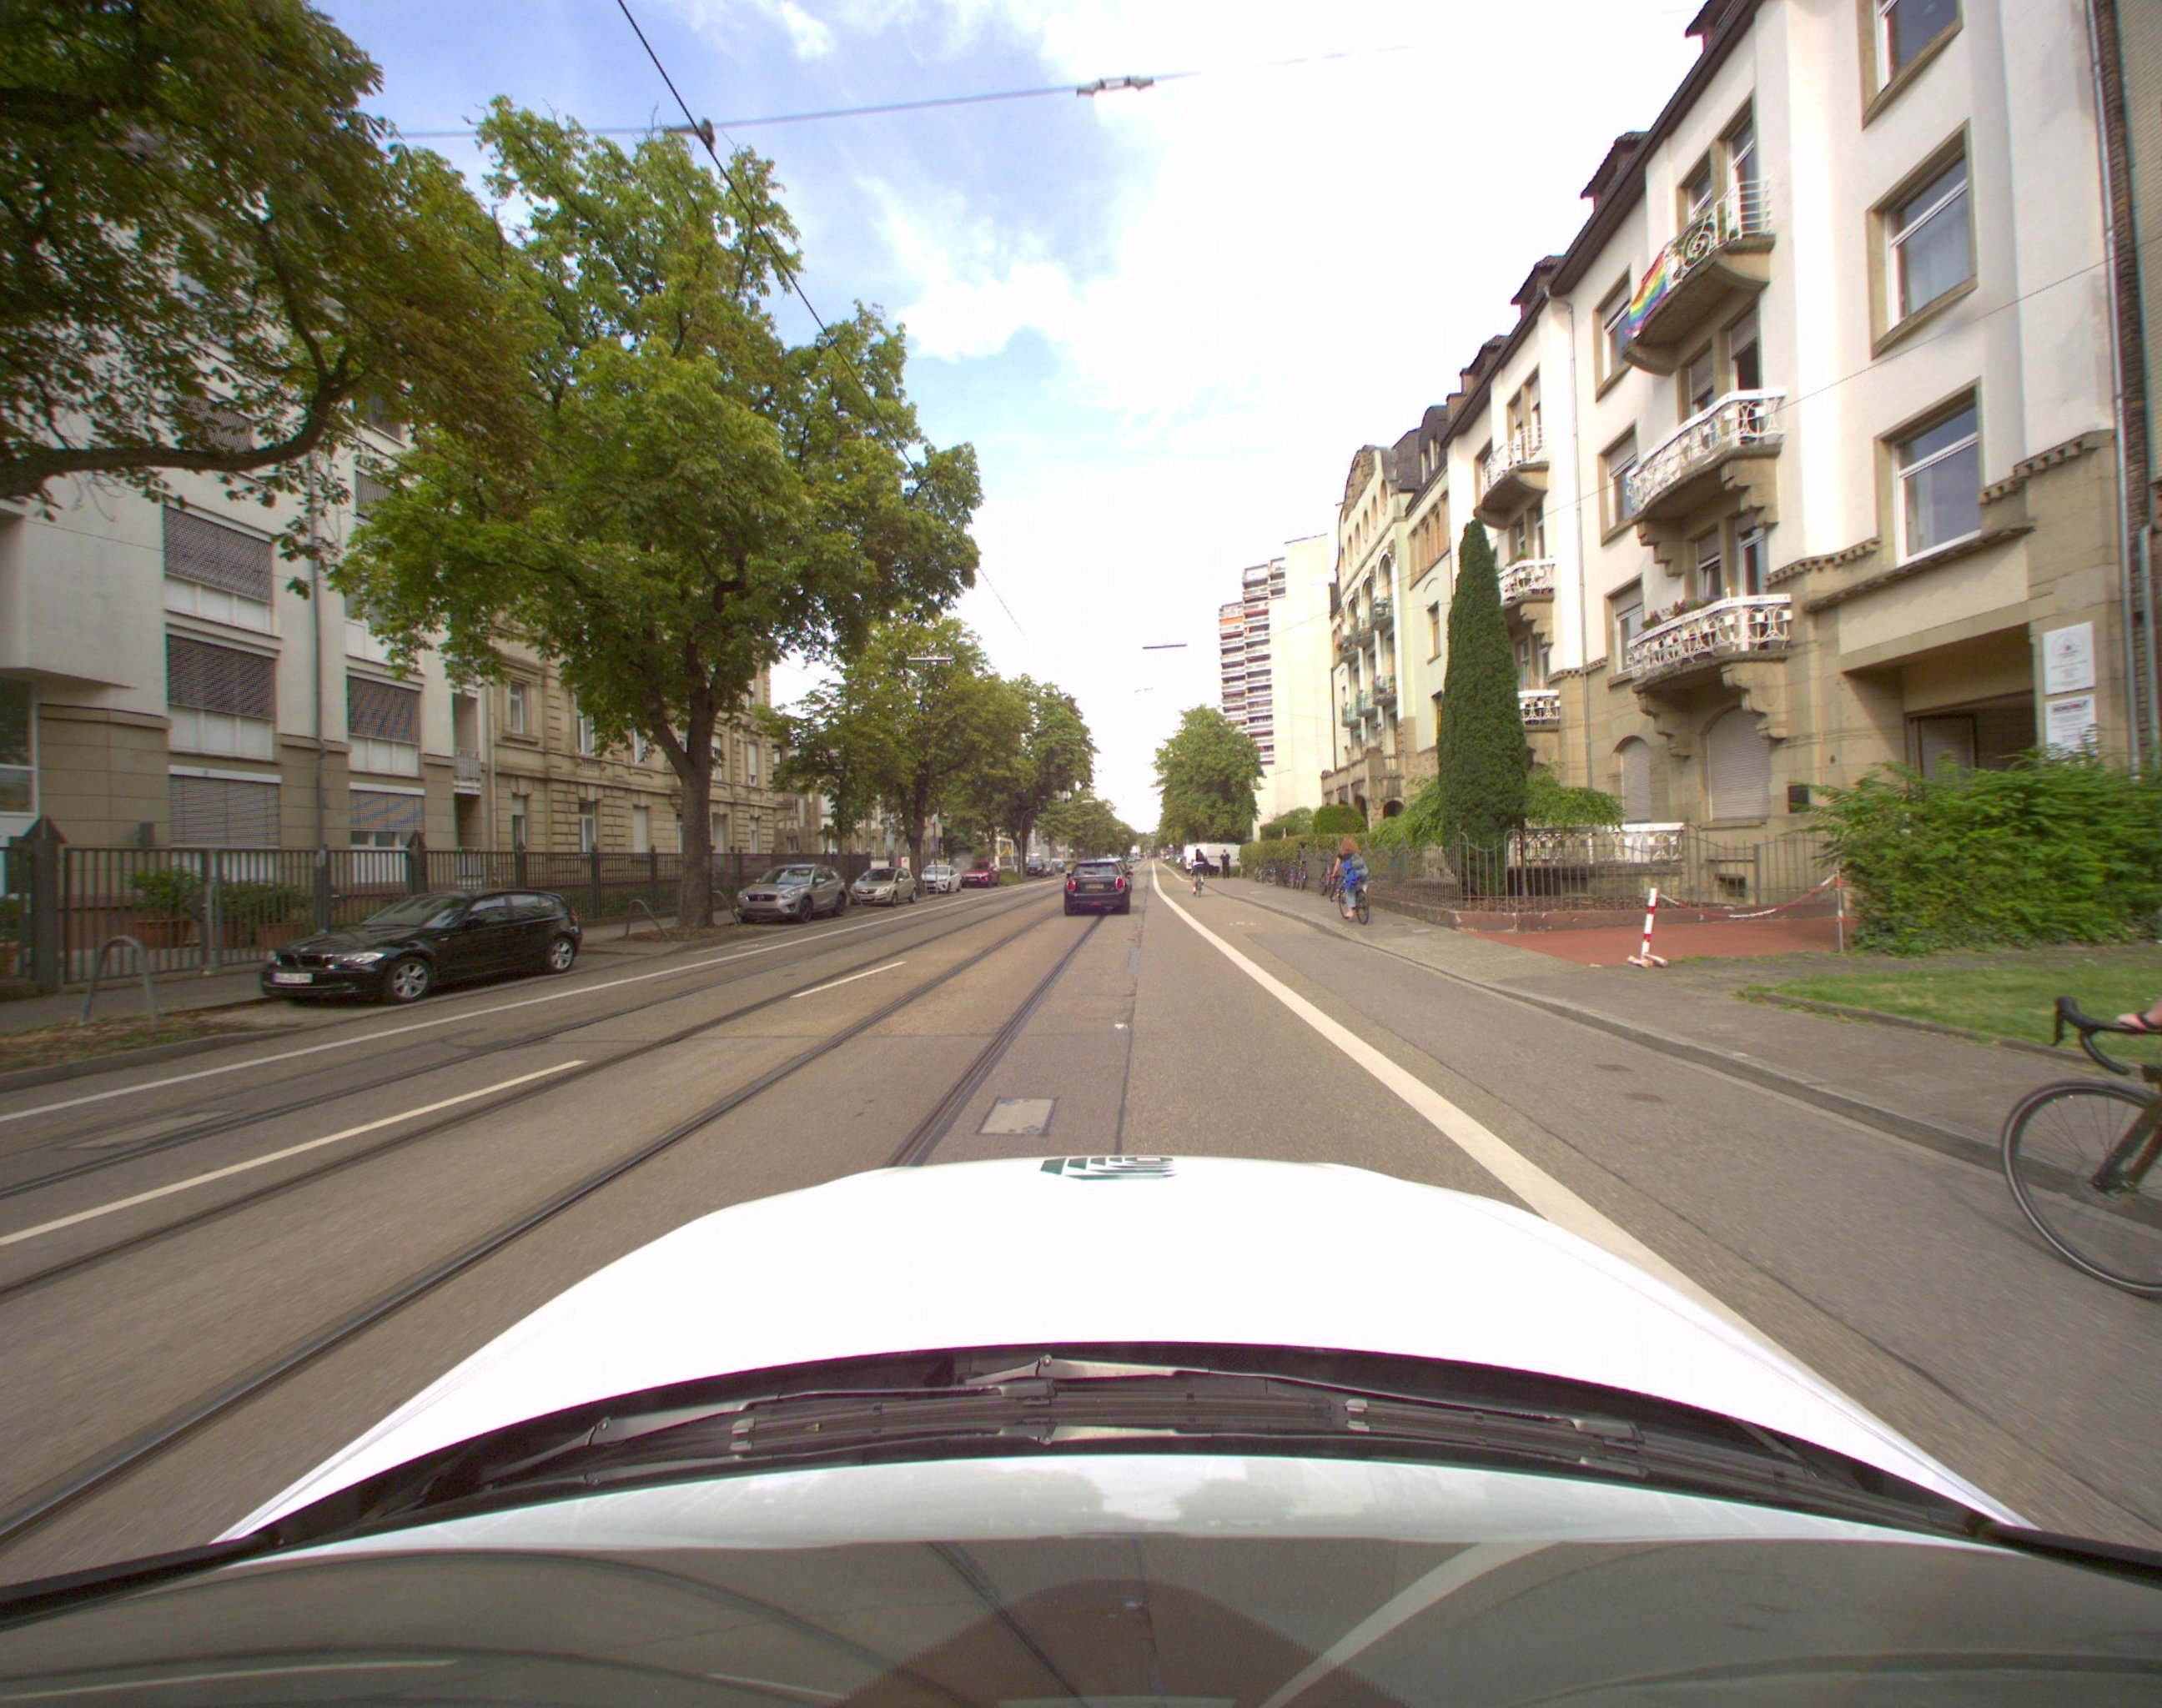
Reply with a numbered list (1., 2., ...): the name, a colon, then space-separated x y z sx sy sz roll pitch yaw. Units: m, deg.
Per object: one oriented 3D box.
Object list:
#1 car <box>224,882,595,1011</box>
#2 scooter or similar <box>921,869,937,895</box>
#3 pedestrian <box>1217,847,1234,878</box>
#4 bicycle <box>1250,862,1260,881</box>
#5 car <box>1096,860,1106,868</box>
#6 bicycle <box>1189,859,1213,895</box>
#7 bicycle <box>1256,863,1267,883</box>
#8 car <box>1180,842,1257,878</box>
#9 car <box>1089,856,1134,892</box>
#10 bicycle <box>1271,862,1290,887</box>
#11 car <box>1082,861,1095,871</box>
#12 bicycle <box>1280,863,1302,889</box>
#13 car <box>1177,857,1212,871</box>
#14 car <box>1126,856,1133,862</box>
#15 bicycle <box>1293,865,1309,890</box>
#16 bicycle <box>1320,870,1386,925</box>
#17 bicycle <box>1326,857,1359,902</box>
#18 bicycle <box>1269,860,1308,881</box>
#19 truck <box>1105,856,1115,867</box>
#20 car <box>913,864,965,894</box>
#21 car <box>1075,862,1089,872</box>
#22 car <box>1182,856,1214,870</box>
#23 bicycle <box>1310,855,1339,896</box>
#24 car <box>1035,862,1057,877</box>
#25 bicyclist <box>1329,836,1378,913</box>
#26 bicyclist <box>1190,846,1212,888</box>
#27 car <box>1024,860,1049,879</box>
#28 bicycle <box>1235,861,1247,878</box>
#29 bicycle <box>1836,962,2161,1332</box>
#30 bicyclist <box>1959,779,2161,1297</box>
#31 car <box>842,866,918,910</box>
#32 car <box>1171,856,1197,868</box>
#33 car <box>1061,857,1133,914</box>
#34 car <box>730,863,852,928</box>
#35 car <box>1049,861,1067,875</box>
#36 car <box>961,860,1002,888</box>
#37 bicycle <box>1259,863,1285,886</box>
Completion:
1. car: -9.470 1.195 12.040 1.711 1.424 4.173 0 0 7
2. scooter or similar: -7.364 1.325 39.310 0.562 1.223 1.315 -1 -1 -19
3. pedestrian: 8.464 0.516 47.619 0.781 1.733 0.897 -4 -1 4
4. bicycle: 8.809 0.876 41.188 0.383 0.907 1.669 -3 -1 9
5. car: 4.033 2.059 166.110 1.794 1.583 4.036 -3 -1 4
6. bicycle: 4.288 0.809 29.207 0.654 1.249 2.127 -1 0 4
7. bicycle: 8.472 0.865 38.211 0.383 0.907 1.669 -3 -1 9
8. car: 9.310 0.406 54.969 4.983 2.290 2.357 -1 -1 -38
9. car: 1.278 0.819 34.642 1.787 1.470 4.001 0 0 2
10. bicycle: 7.807 0.796 31.891 0.483 0.907 1.668 -3 -1 8
11. car: 1.326 2.025 136.276 1.794 1.583 4.036 -3 -1 4
12. bicycle: 7.749 0.790 30.103 0.483 0.907 1.667 -3 -1 5
13. car: 12.279 1.078 88.209 3.850 1.460 1.620 0 -1 -42
14. car: 13.578 1.452 228.103 1.888 1.628 4.001 -1 0 2
15. bicycle: 7.629 0.808 28.292 0.276 0.852 1.199 -3 -1 5
16. bicycle: 5.495 0.851 16.563 0.686 0.962 2.037 -4 0 2
17. bicycle: 6.855 0.648 21.392 0.390 1.103 1.762 -3 -1 5
18. bicycle: 9.501 0.758 37.299 1.653 0.907 0.487 -3 -1 3
19. truck: 7.037 1.786 199.401 2.061 2.470 4.904 -3 -1 4
20. car: -7.279 1.260 42.156 1.713 1.424 4.027 0 0 4
21. car: 0.226 2.012 125.679 1.794 1.374 4.036 -3 -1 4
22. car: 13.668 1.063 95.360 3.759 1.522 1.621 -1 -1 -40
23. bicycle: 7.189 0.622 24.093 0.390 1.142 1.923 -3 -1 5
24. car: -3.425 1.539 80.176 1.685 1.427 3.872 -1 -1 4
25. bicyclist: 5.463 0.397 16.389 0.645 1.470 0.801 -4 -1 2
26. bicyclist: 4.295 0.465 29.183 0.654 1.463 1.180 -1 -1 4
27. car: -4.010 1.402 73.512 1.748 1.647 4.057 -1 -1 4
28. bicycle: 9.141 0.898 46.453 0.384 0.907 1.843 -3 -1 3
29. bicycle: 3.595 0.959 2.535 0.636 0.981 2.073 0 0 3
30. bicyclist: 3.592 0.556 2.484 0.636 1.570 1.111 0 -1 2
31. car: -7.629 1.256 31.337 1.593 1.468 4.084 -1 0 4
32. car: 14.633 1.160 115.145 3.461 1.573 1.543 -1 -1 -34
33. car: 0.501 0.811 22.609 1.786 1.423 4.002 -1 -1 2
34. car: -8.379 1.126 23.992 1.702 1.673 4.362 -1 0 4
35. car: -2.568 1.560 92.056 1.685 1.487 3.681 -1 -1 4
36. car: -6.141 1.235 50.864 1.713 1.655 4.547 0 0 4
37. bicycle: 7.931 0.851 33.802 0.485 0.907 1.661 -3 -1 -6
